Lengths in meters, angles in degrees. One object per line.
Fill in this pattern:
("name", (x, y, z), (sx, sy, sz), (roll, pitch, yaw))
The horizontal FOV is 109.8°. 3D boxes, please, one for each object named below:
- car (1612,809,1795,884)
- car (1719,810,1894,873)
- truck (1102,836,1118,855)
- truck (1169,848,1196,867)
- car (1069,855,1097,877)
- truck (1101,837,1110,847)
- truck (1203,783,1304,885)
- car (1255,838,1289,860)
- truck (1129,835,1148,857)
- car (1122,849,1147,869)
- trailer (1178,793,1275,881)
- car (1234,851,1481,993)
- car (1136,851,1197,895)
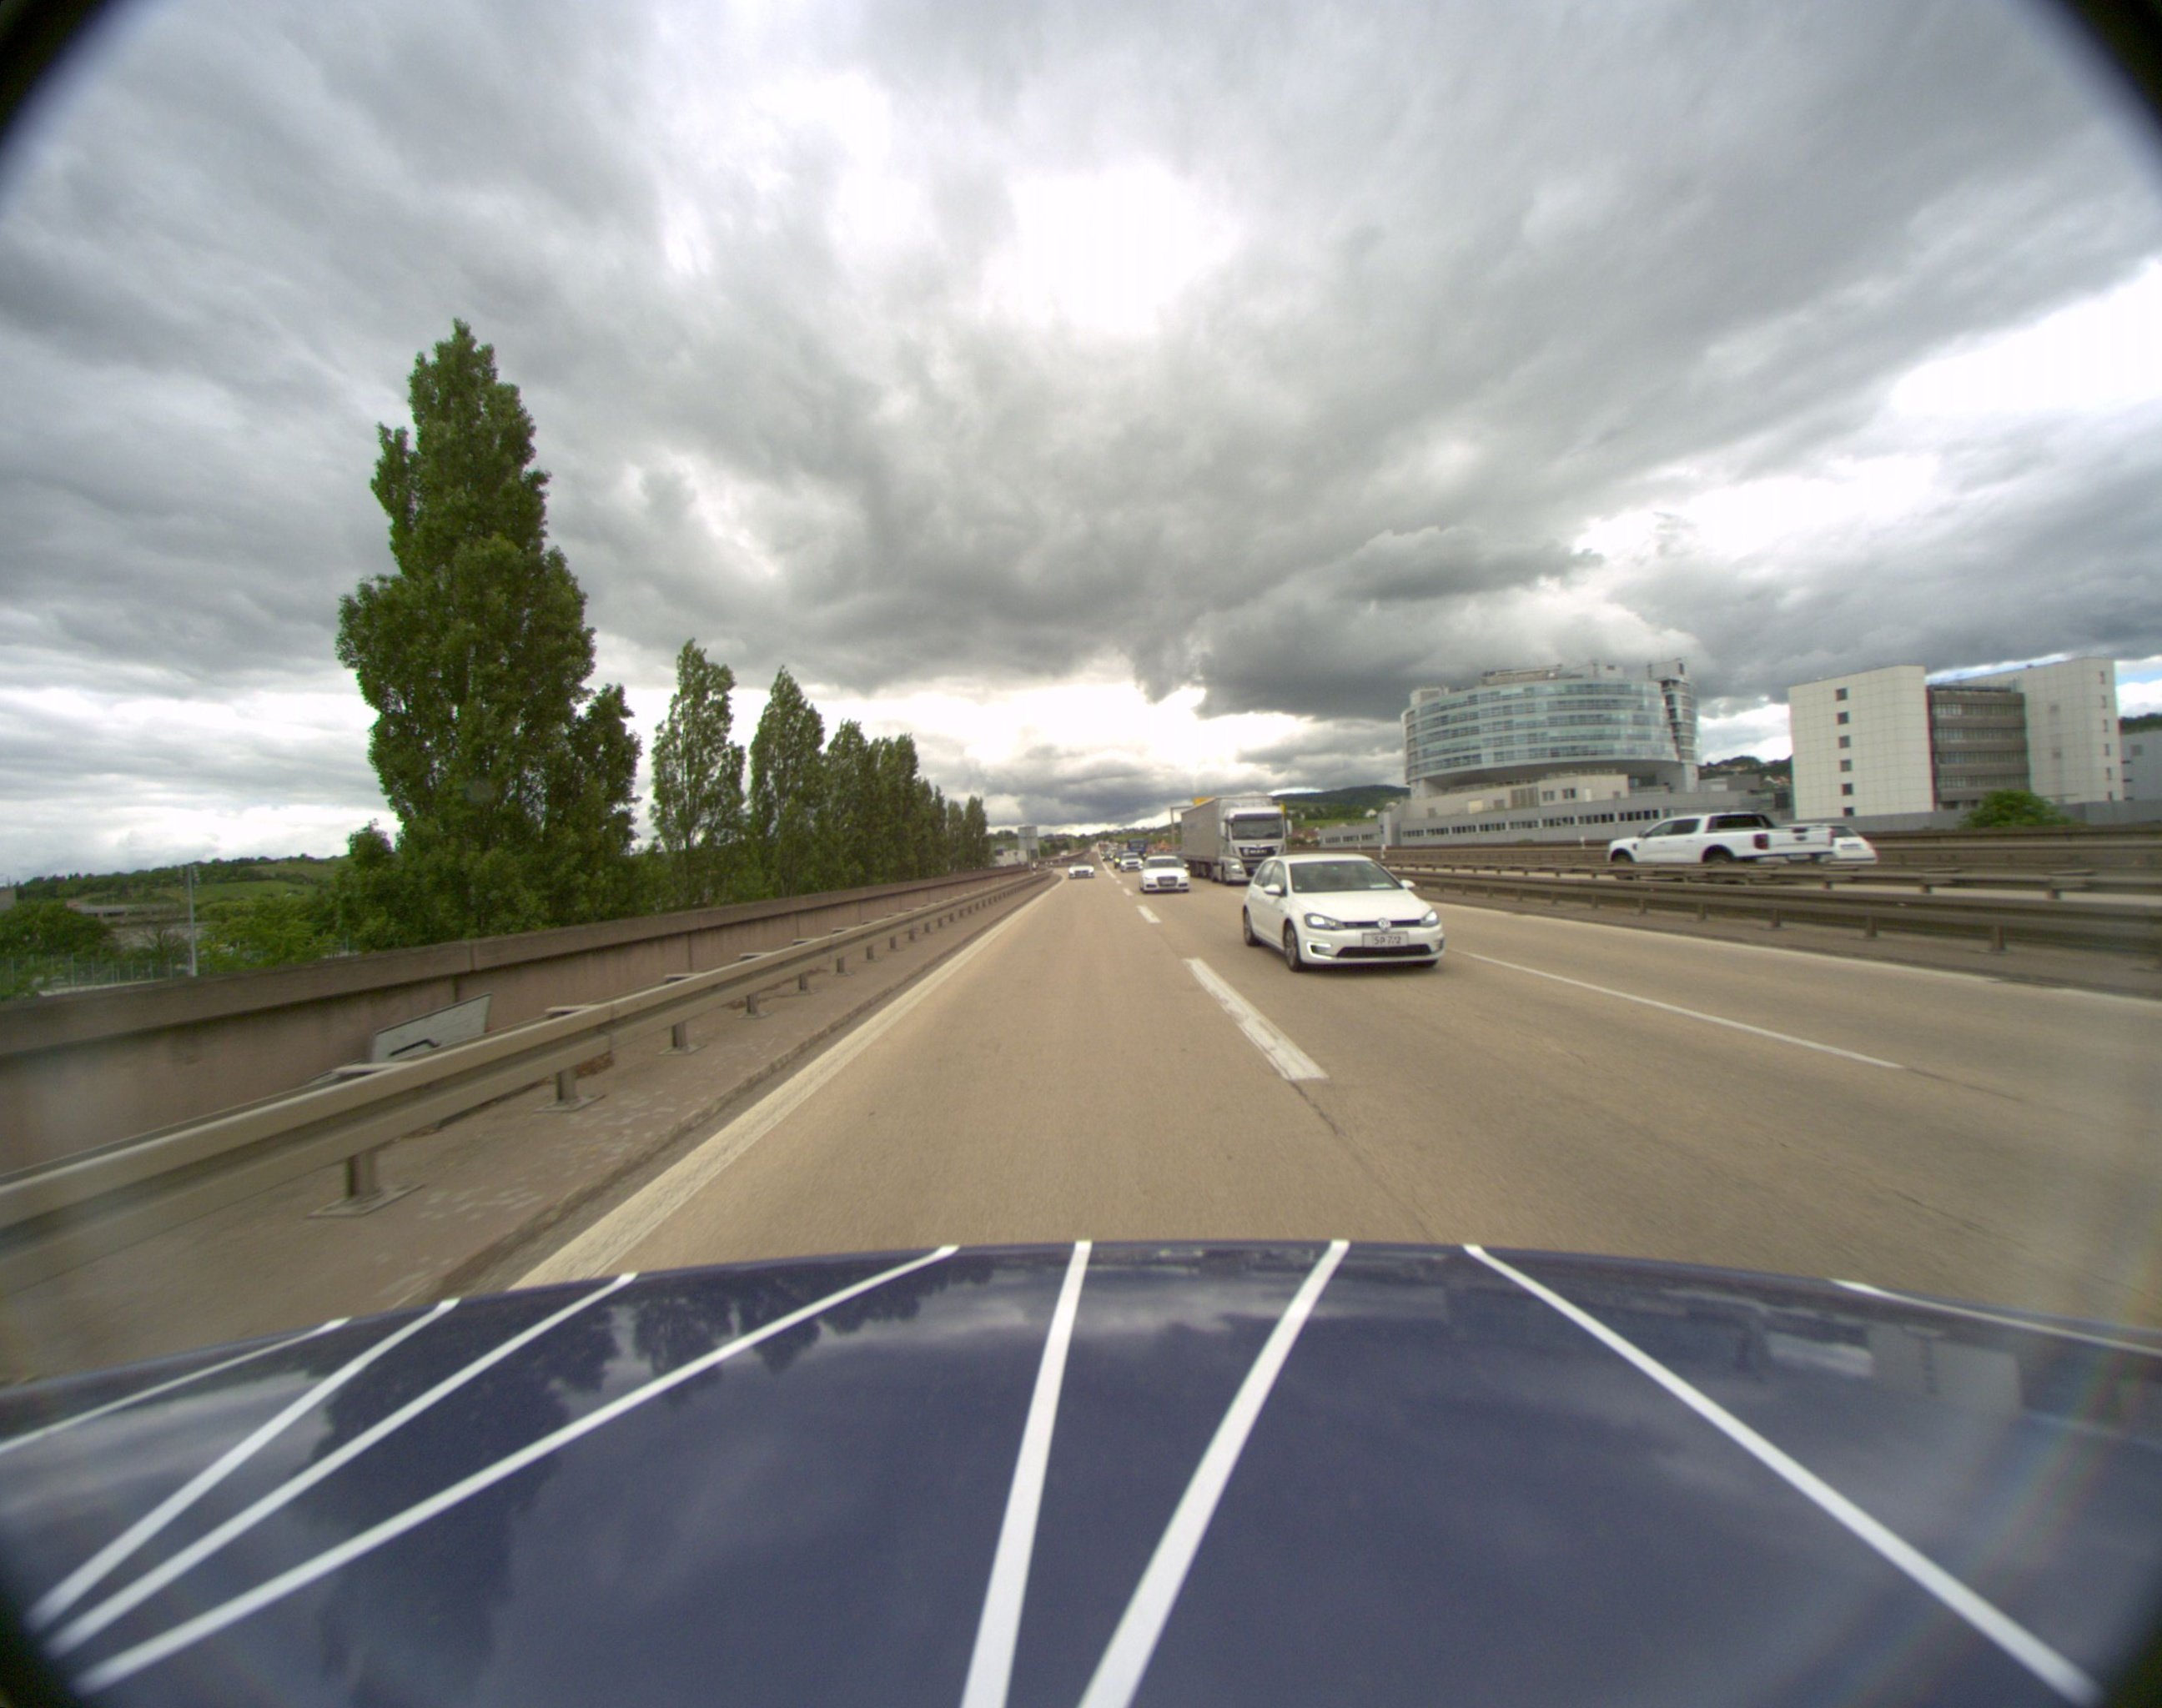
("car", (16.484, -0.200, 20.398), (1.791, 1.710, 3.775), (-3, 1, 1))
("car", (21.786, -0.361, 23.043), (1.687, 1.641, 3.775), (-3, 1, 1))
("truck", (5.277, -1.463, 137.003), (2.626, 3.219, 6.686), (-2, 1, 1))
("truck", (8.727, 0.264, 65.411), (1.829, 1.521, 3.513), (-2, 1, 1))
("car", (0.180, 0.868, 57.171), (1.930, 1.499, 4.061), (-3, 1, 1))
("truck", (7.822, -3.740, 240.456), (2.626, 3.219, 6.686), (-2, 1, 1))
("truck", (7.583, -0.857, 34.238), (3.142, 4.014, 5.688), (-4, 1, 1))
("car", (15.333, -0.417, 61.133), (1.687, 1.641, 3.775), (-4, 1, 1))
("truck", (8.714, -1.248, 115.423), (2.336, 3.219, 6.686), (-2, 1, 1))
("car", (4.699, 0.403, 67.033), (1.930, 1.585, 4.061), (-3, 1, 1))
("trailer", (7.756, -0.866, 42.435), (3.189, 4.003, 11.765), (-4, 0, 1))
("car", (3.503, 0.752, 10.513), (1.930, 1.499, 4.061), (-2, 1, 1))
("car", (3.294, 0.677, 30.150), (1.930, 1.499, 4.061), (-3, 1, 1))
